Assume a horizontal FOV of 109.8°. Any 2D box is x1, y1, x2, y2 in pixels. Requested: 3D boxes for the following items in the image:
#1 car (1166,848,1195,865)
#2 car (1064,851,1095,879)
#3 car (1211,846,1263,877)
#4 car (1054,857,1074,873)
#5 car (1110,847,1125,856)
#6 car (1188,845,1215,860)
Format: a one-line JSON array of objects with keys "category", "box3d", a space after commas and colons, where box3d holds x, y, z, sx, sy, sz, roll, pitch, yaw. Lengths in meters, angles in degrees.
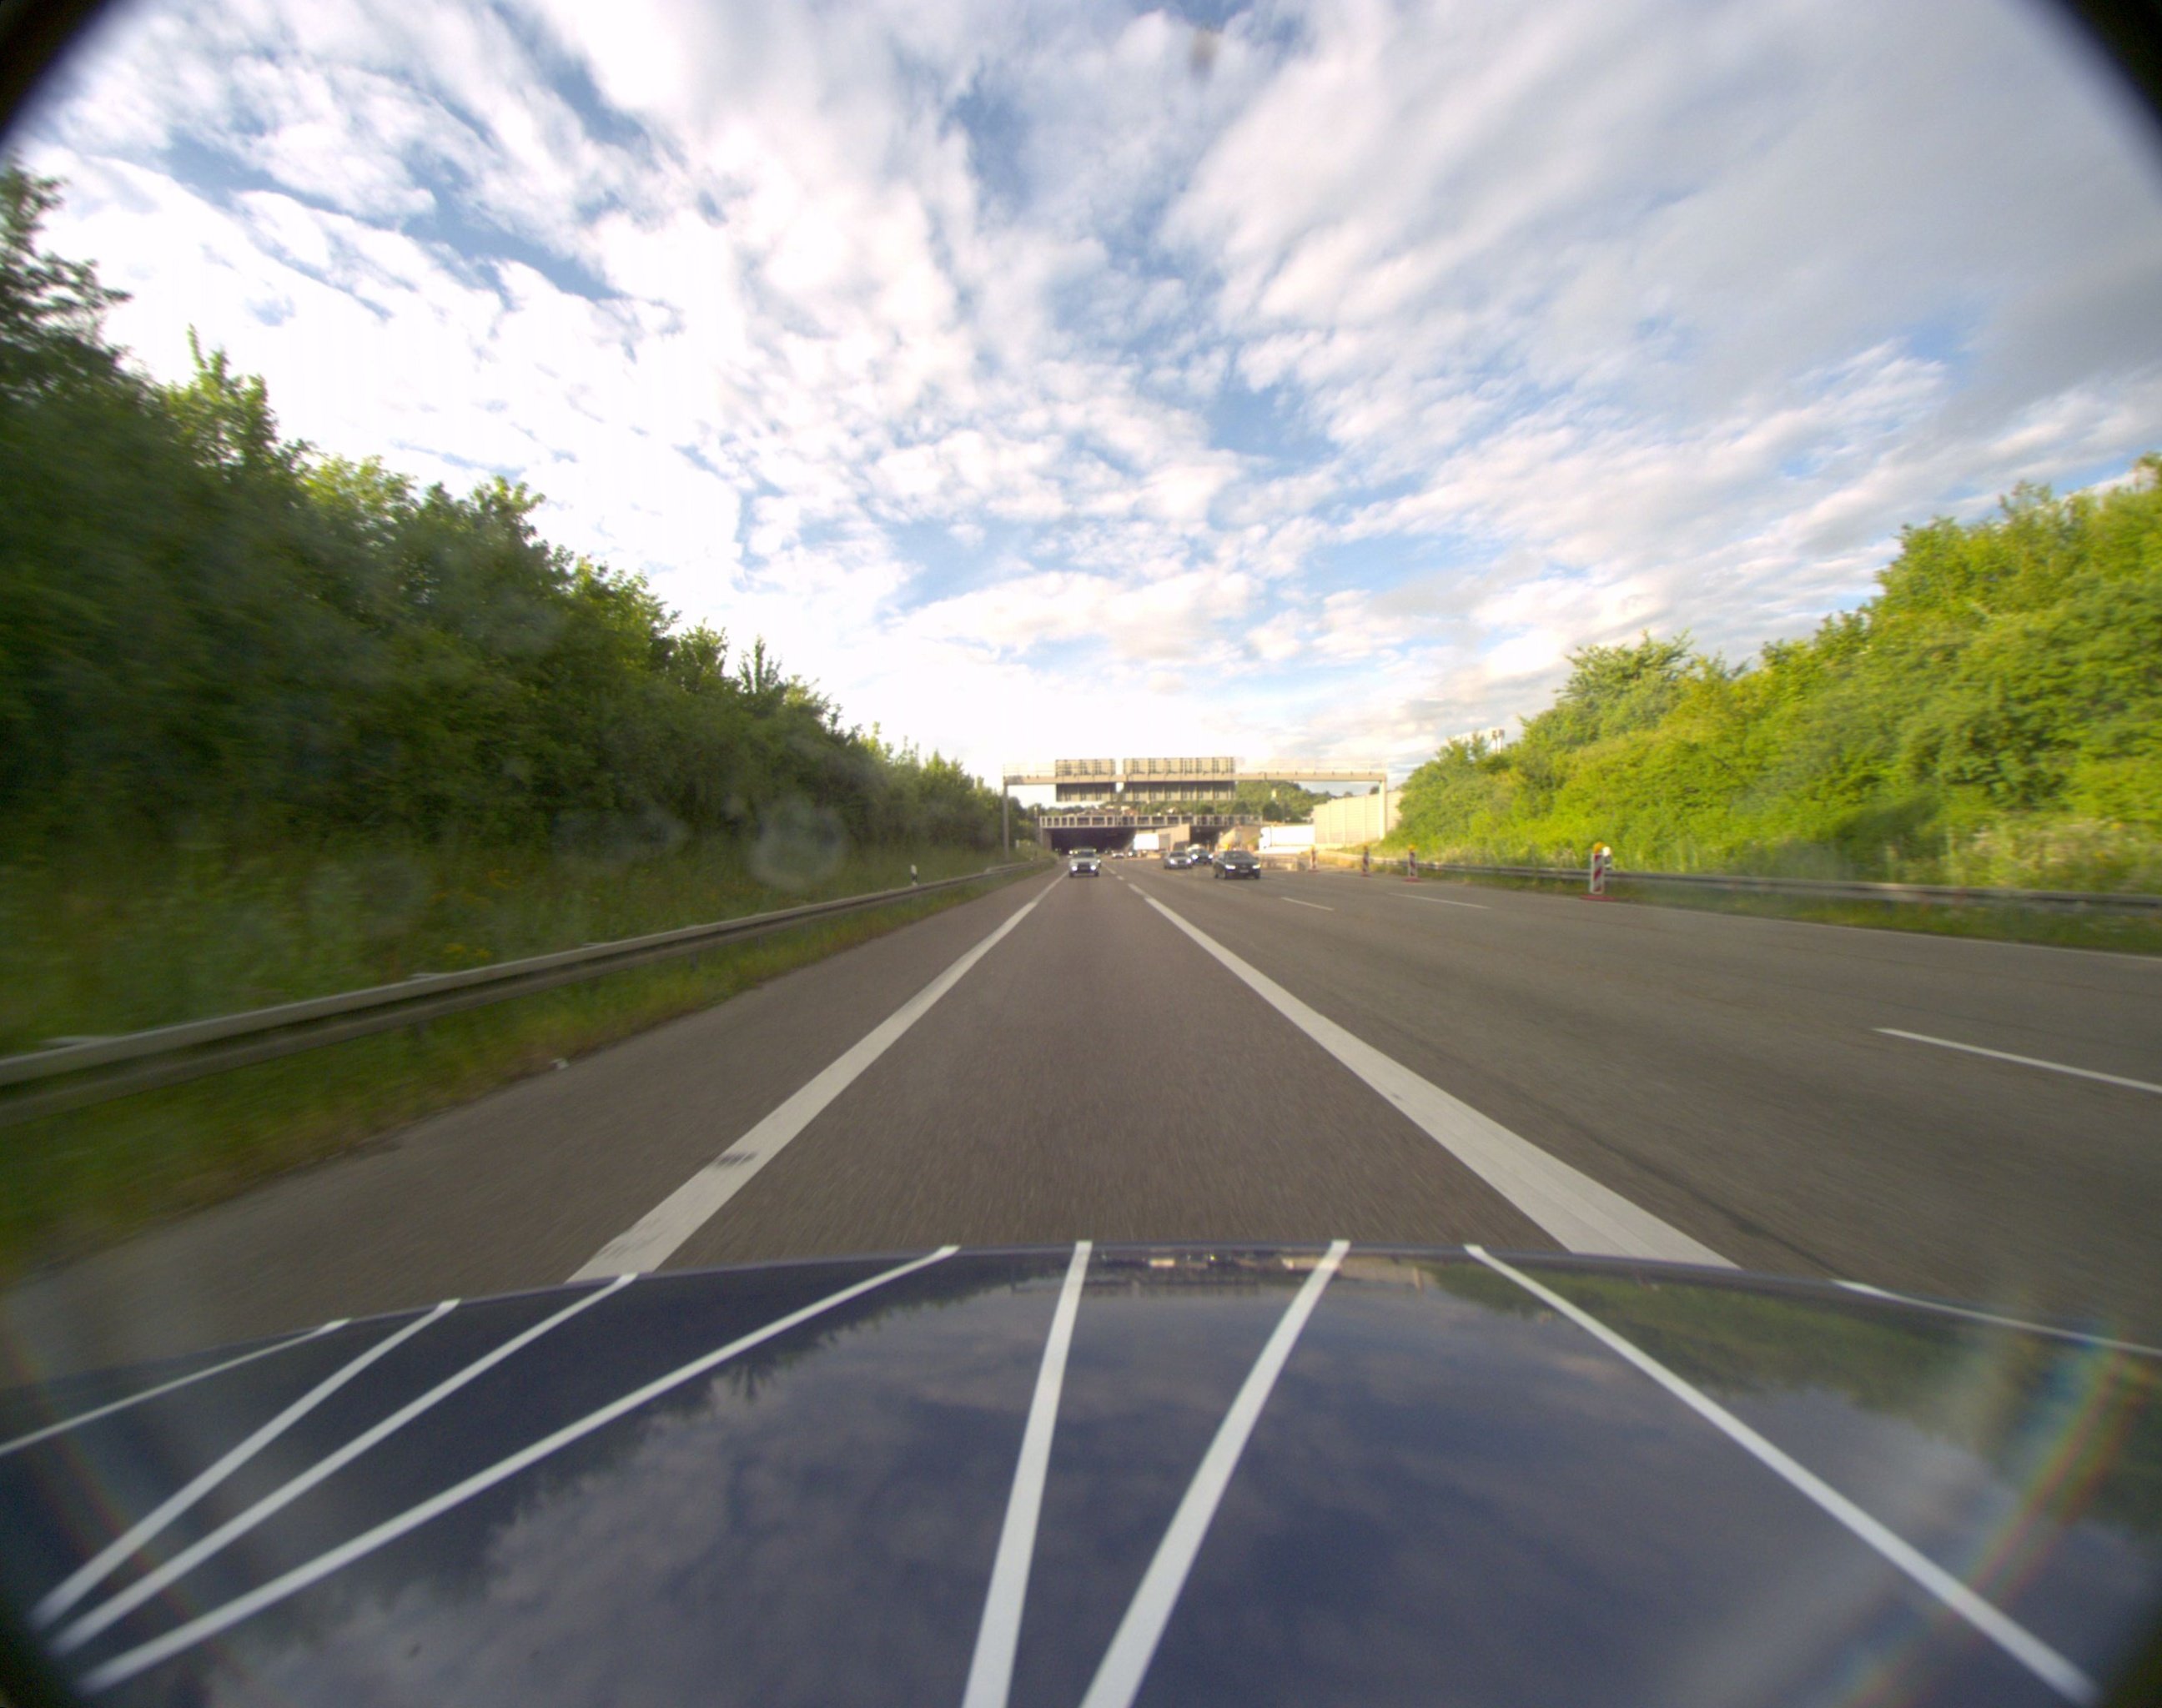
[{"category": "car", "box3d": [7.904, 0.145, 60.571, 1.797, 1.284, 4.000, -1, 1, 1]}, {"category": "car", "box3d": [-0.053, 0.657, 49.034, 1.905, 1.655, 4.000, -2, 1, 1]}, {"category": "car", "box3d": [7.660, 0.330, 37.576, 1.762, 1.398, 4.000, -1, 1, 1]}, {"category": "car", "box3d": [-1.671, 1.097, 75.756, 1.619, 1.451, 3.663, -3, 0, 3]}, {"category": "car", "box3d": [6.154, -0.407, 128.584, 1.999, 1.472, 4.944, -2, 1, -4]}, {"category": "car", "box3d": [11.083, -0.130, 70.355, 1.880, 1.284, 4.000, -2, 1, 1]}]
